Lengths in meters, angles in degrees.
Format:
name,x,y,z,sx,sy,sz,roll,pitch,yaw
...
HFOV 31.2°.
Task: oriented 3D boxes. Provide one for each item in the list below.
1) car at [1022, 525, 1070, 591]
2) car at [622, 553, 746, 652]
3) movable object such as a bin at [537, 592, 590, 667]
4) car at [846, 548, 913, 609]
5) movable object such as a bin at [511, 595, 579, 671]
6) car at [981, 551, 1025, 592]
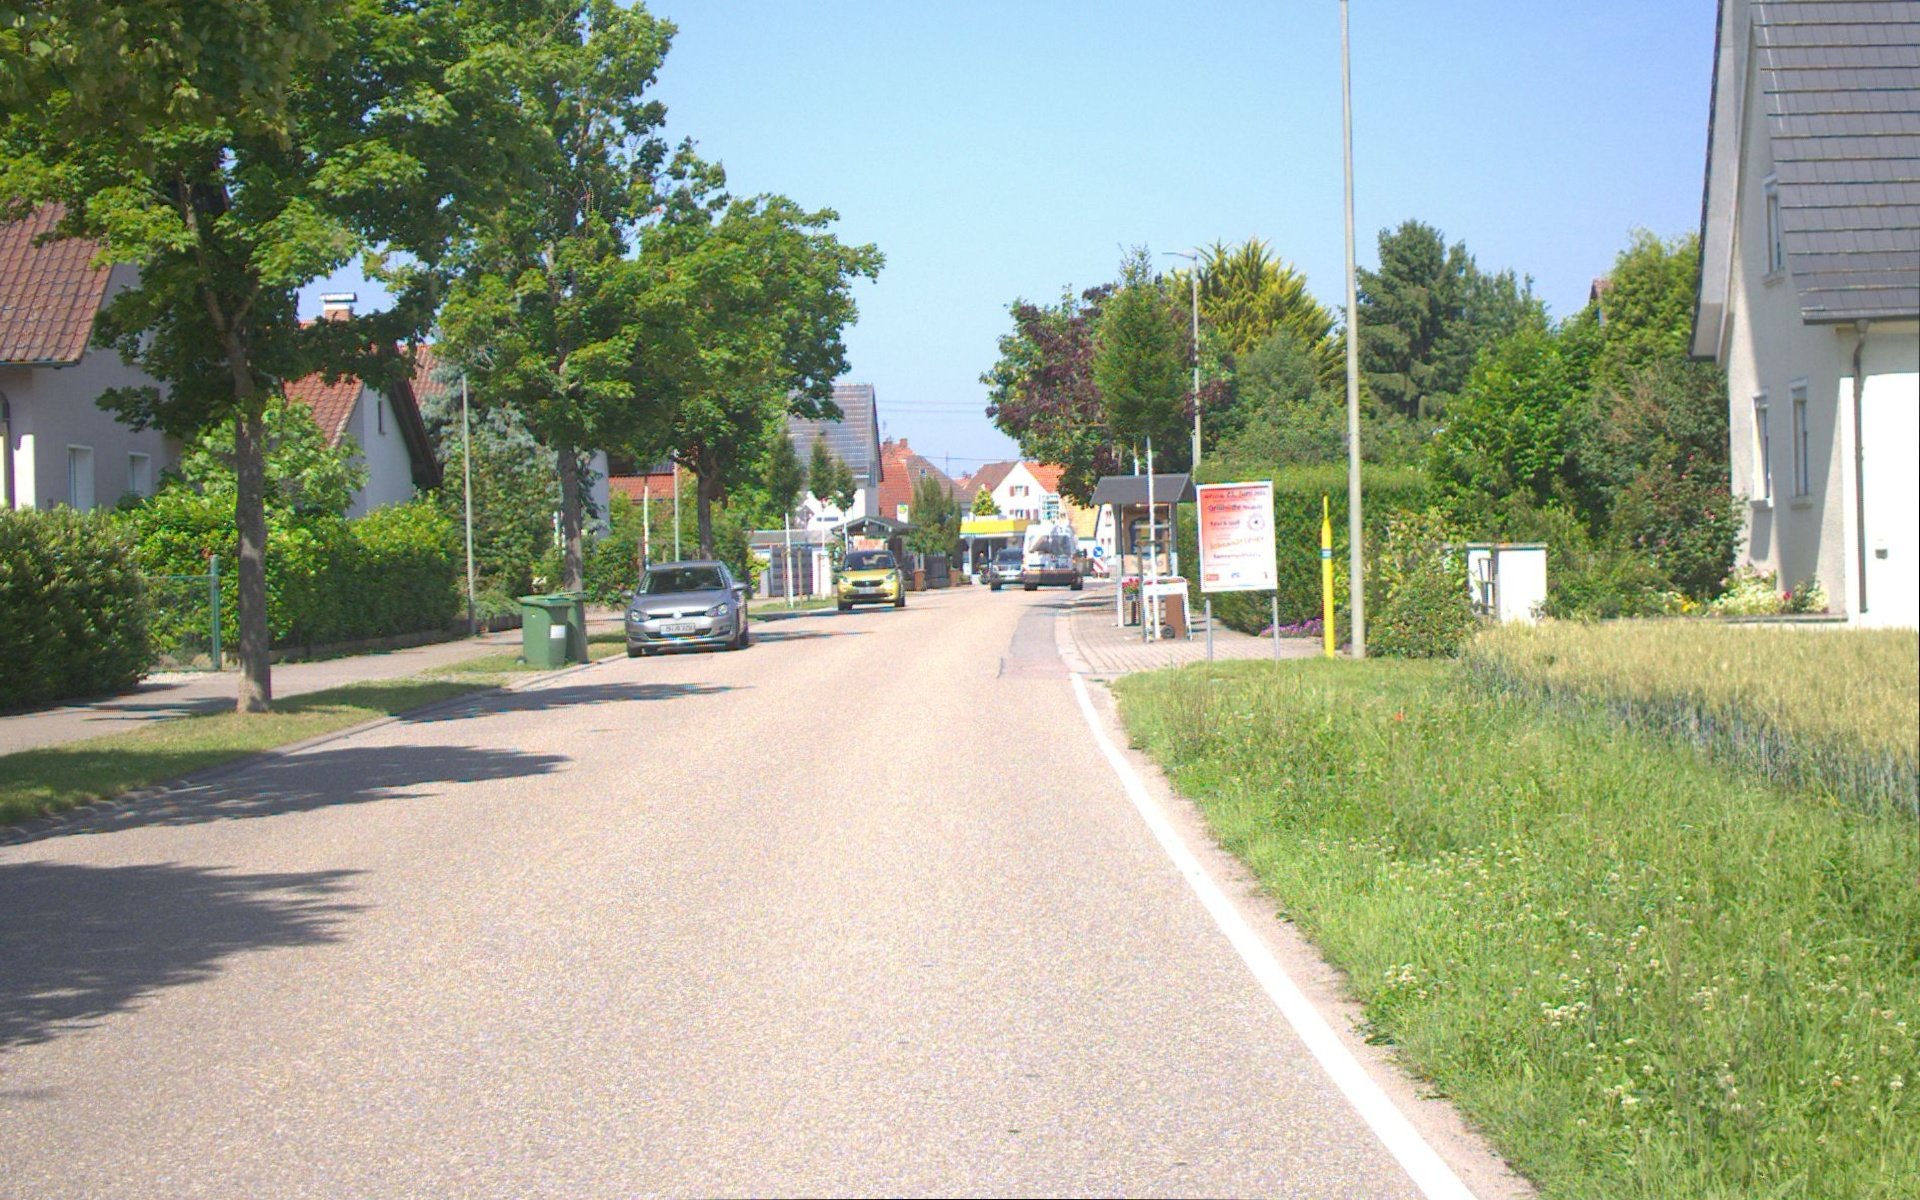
name,x,y,z,sx,sy,sz,roll,pitch,yaw
car,3.226,-1.584,129.776,1.738,2.424,4.374,-2,1,1
car,-4.387,0.015,55.067,1.647,1.419,4.080,-4,1,-1
movable object such as a bin,-5.805,0.436,50.329,0.575,1.075,0.598,-1,0,14
car,-2.150,-0.567,91.143,1.666,1.519,3.443,-2,1,-2
movable object such as a bin,-5.999,0.472,49.671,0.714,1.075,0.639,-1,0,26
car,1.897,-1.268,153.532,1.835,1.747,3.796,-2,1,-1
